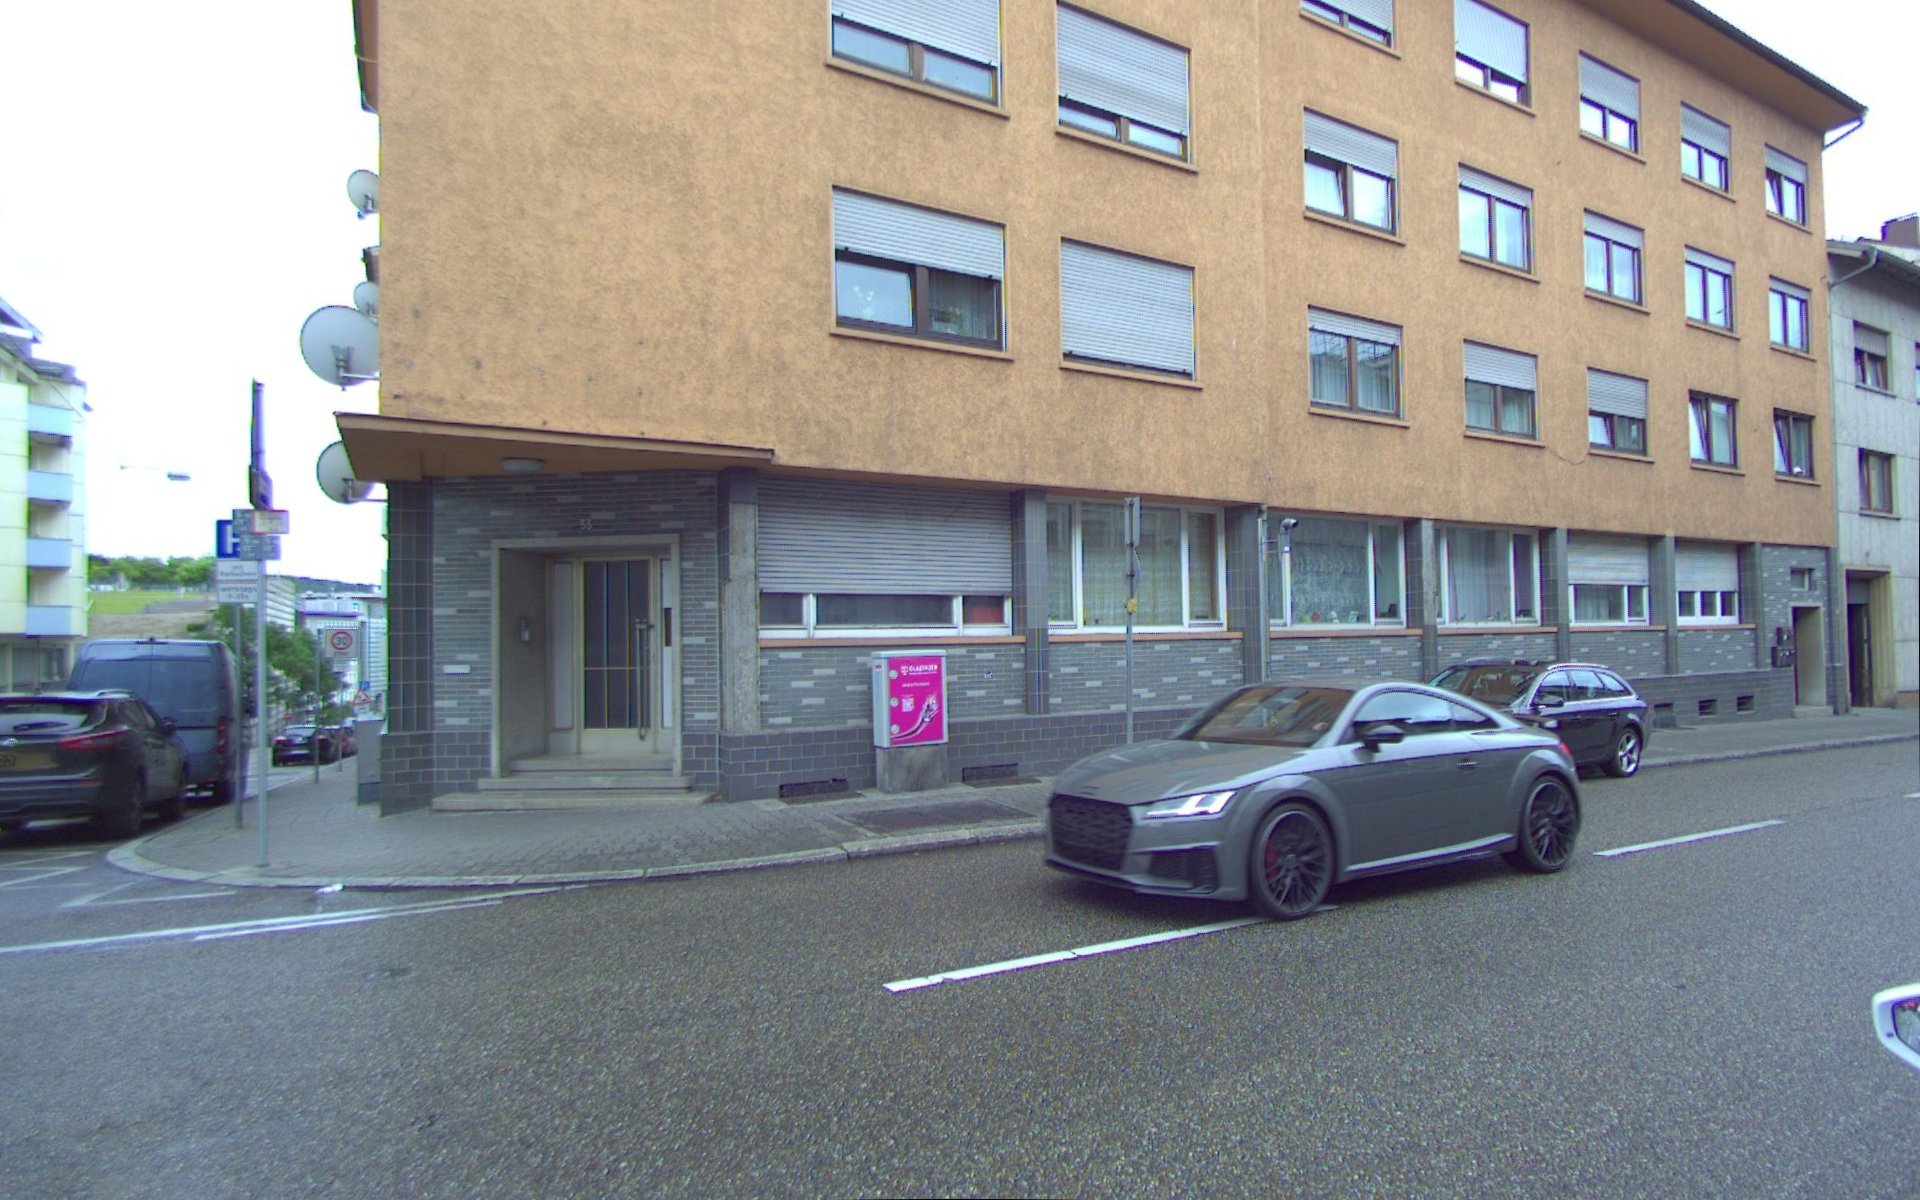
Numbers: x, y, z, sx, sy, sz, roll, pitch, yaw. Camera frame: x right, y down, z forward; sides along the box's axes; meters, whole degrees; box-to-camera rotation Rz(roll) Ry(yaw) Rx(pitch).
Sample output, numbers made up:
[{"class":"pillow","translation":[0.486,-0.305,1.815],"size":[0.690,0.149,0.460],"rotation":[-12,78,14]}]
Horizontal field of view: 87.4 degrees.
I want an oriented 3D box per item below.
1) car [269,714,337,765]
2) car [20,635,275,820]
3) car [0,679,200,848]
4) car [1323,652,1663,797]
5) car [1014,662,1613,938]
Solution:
[{"class":"car","translation":[-24.354,5.167,37.336],"size":[1.796,1.696,4.026],"rotation":[1,-7,-29]},{"class":"car","translation":[-13.163,2.073,16.791],"size":[2.223,2.492,6.017],"rotation":[1,-7,-29]},{"class":"car","translation":[-10.194,1.832,11.450],"size":[1.820,1.596,4.127],"rotation":[1,-8,-29]},{"class":"car","translation":[6.887,1.451,12.862],"size":[4.475,1.457,1.786],"rotation":[1,0,-31]},{"class":"car","translation":[2.467,1.160,6.895],"size":[3.842,1.363,1.760],"rotation":[1,-6,-30]}]
